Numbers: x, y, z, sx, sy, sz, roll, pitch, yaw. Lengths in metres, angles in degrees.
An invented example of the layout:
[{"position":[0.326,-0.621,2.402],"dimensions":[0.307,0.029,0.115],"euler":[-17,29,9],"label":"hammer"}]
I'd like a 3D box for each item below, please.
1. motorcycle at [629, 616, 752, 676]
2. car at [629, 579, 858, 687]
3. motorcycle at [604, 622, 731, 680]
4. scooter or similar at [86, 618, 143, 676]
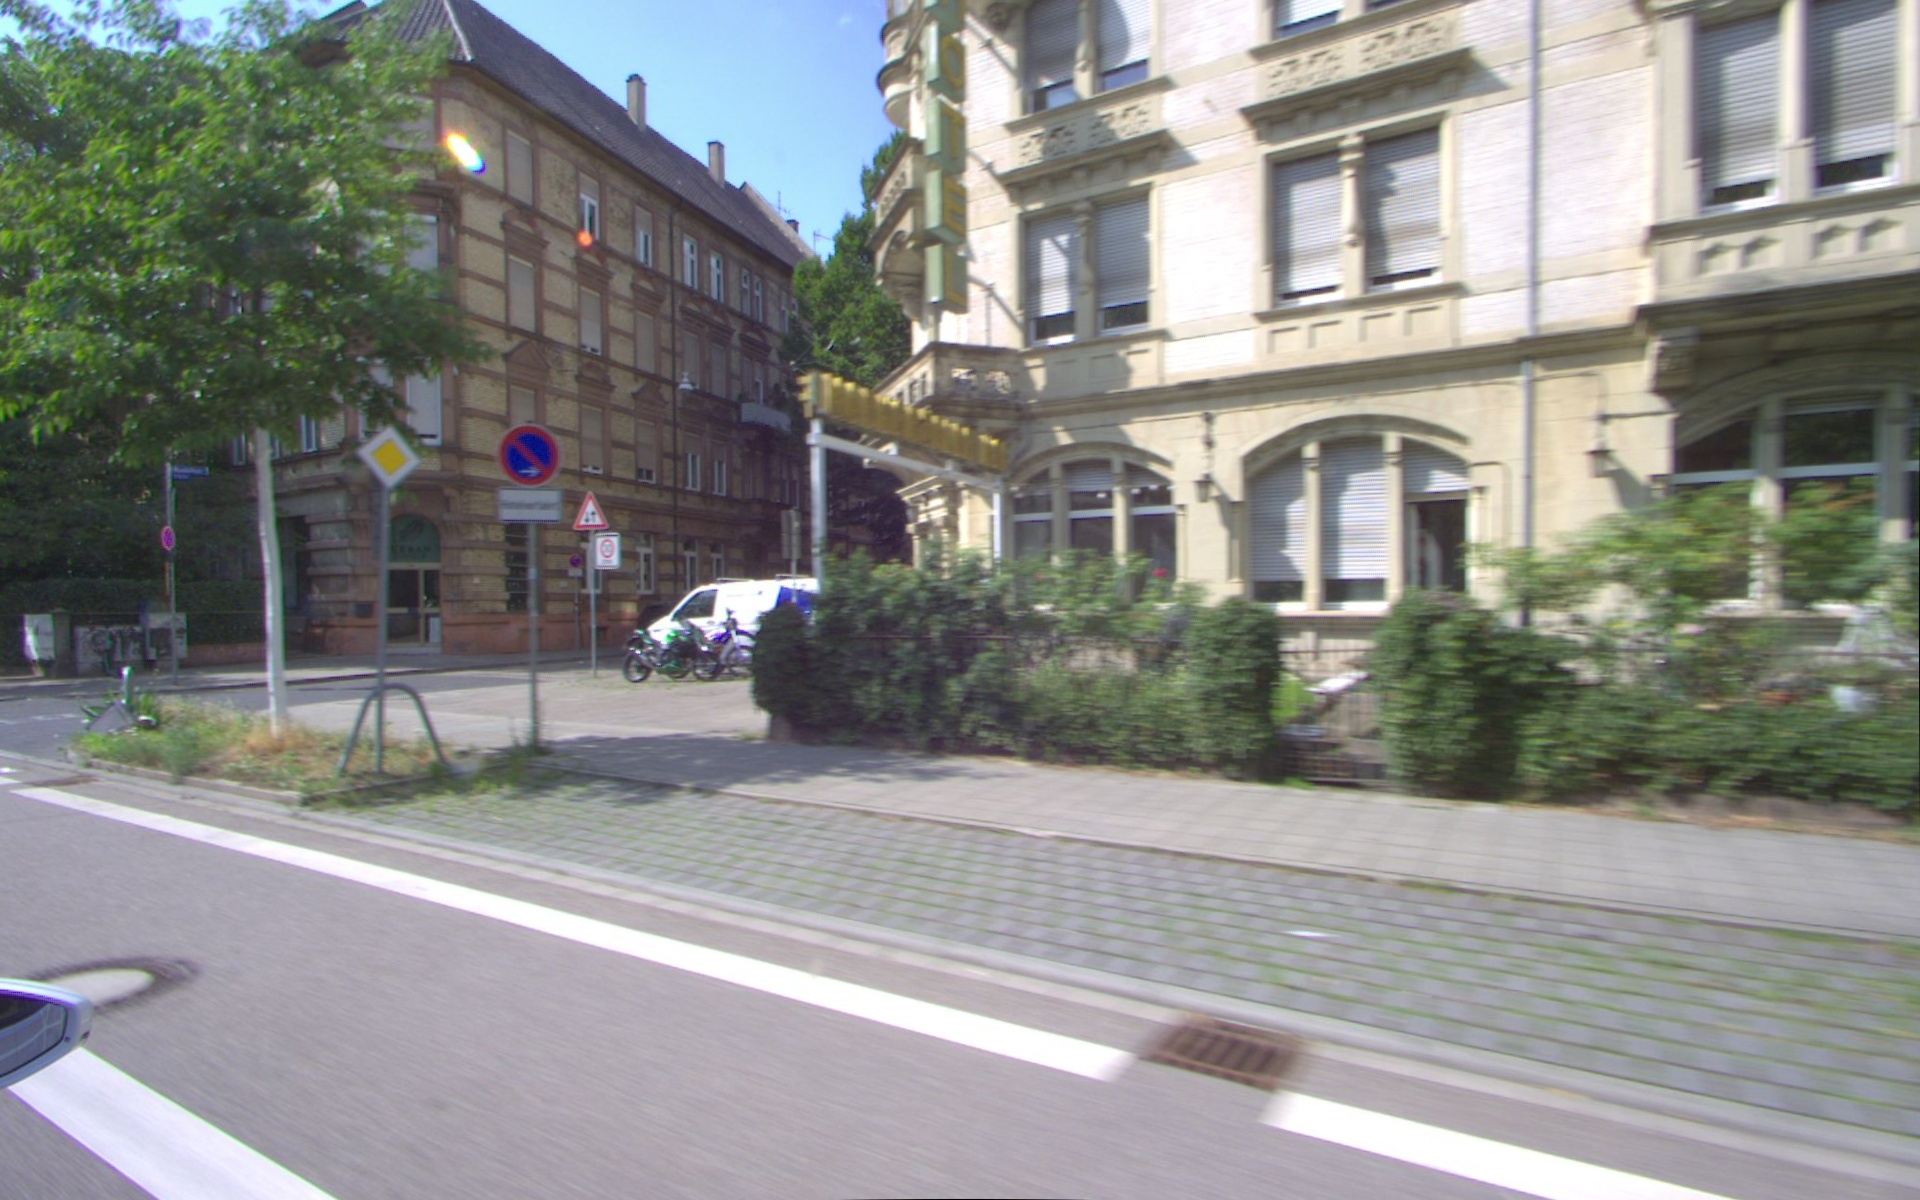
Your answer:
[{"position":[-5.265,0.898,19.571],"dimensions":[2.251,1.111,0.633],"euler":[-1,3,13],"label":"motorcycle"},{"position":[-4.638,0.722,21.511],"dimensions":[4.409,2.132,1.995],"euler":[-2,0,21],"label":"car"},{"position":[-5.456,0.938,18.706],"dimensions":[2.252,1.015,0.633],"euler":[-1,3,15],"label":"motorcycle"},{"position":[-17.963,0.975,21.271],"dimensions":[1.550,1.174,0.460],"euler":[0,2,33],"label":"scooter or similar"}]
